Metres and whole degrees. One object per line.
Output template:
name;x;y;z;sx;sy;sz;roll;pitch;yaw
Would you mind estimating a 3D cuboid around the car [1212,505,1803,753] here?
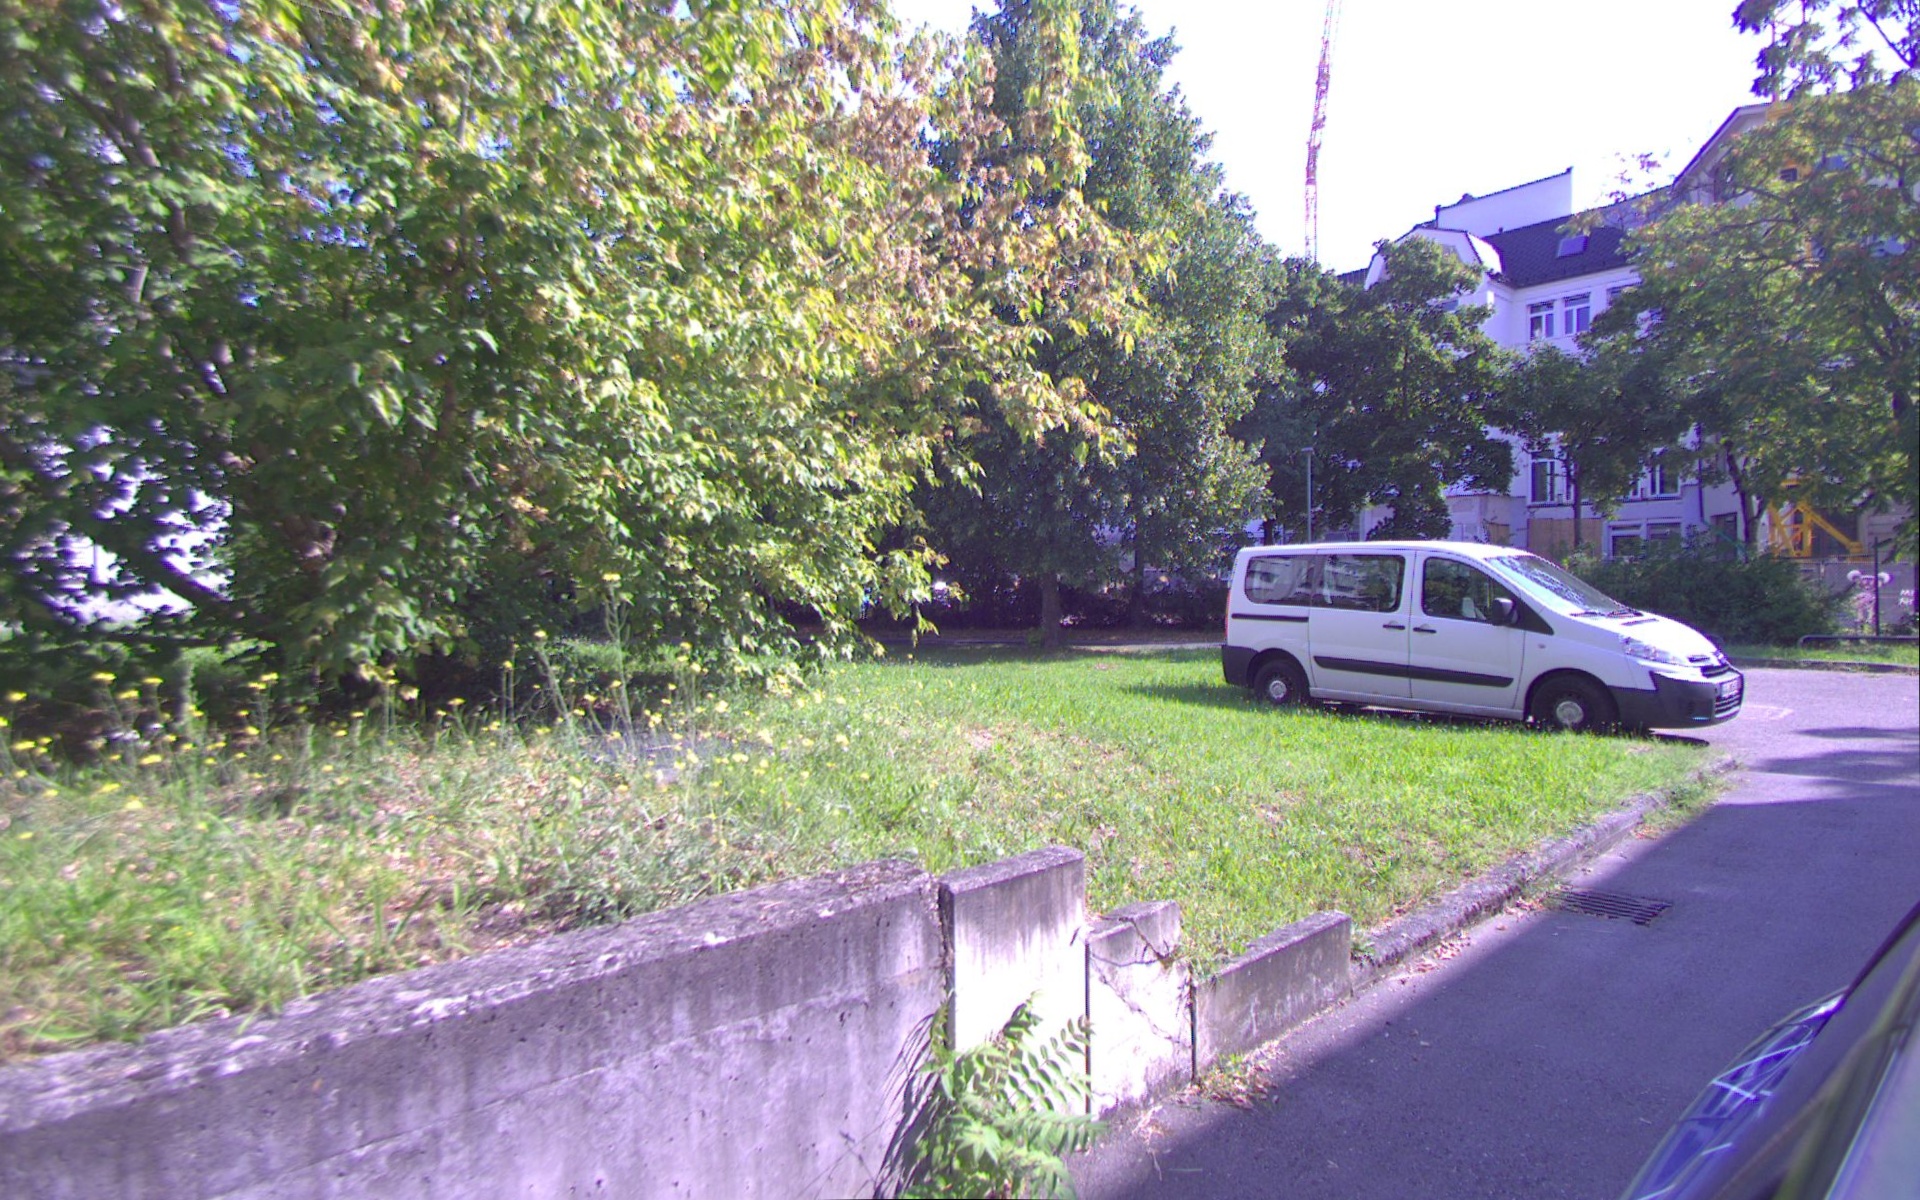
car;5.292;0.225;10.490;2.008;1.945;4.968;-3;1;-39
